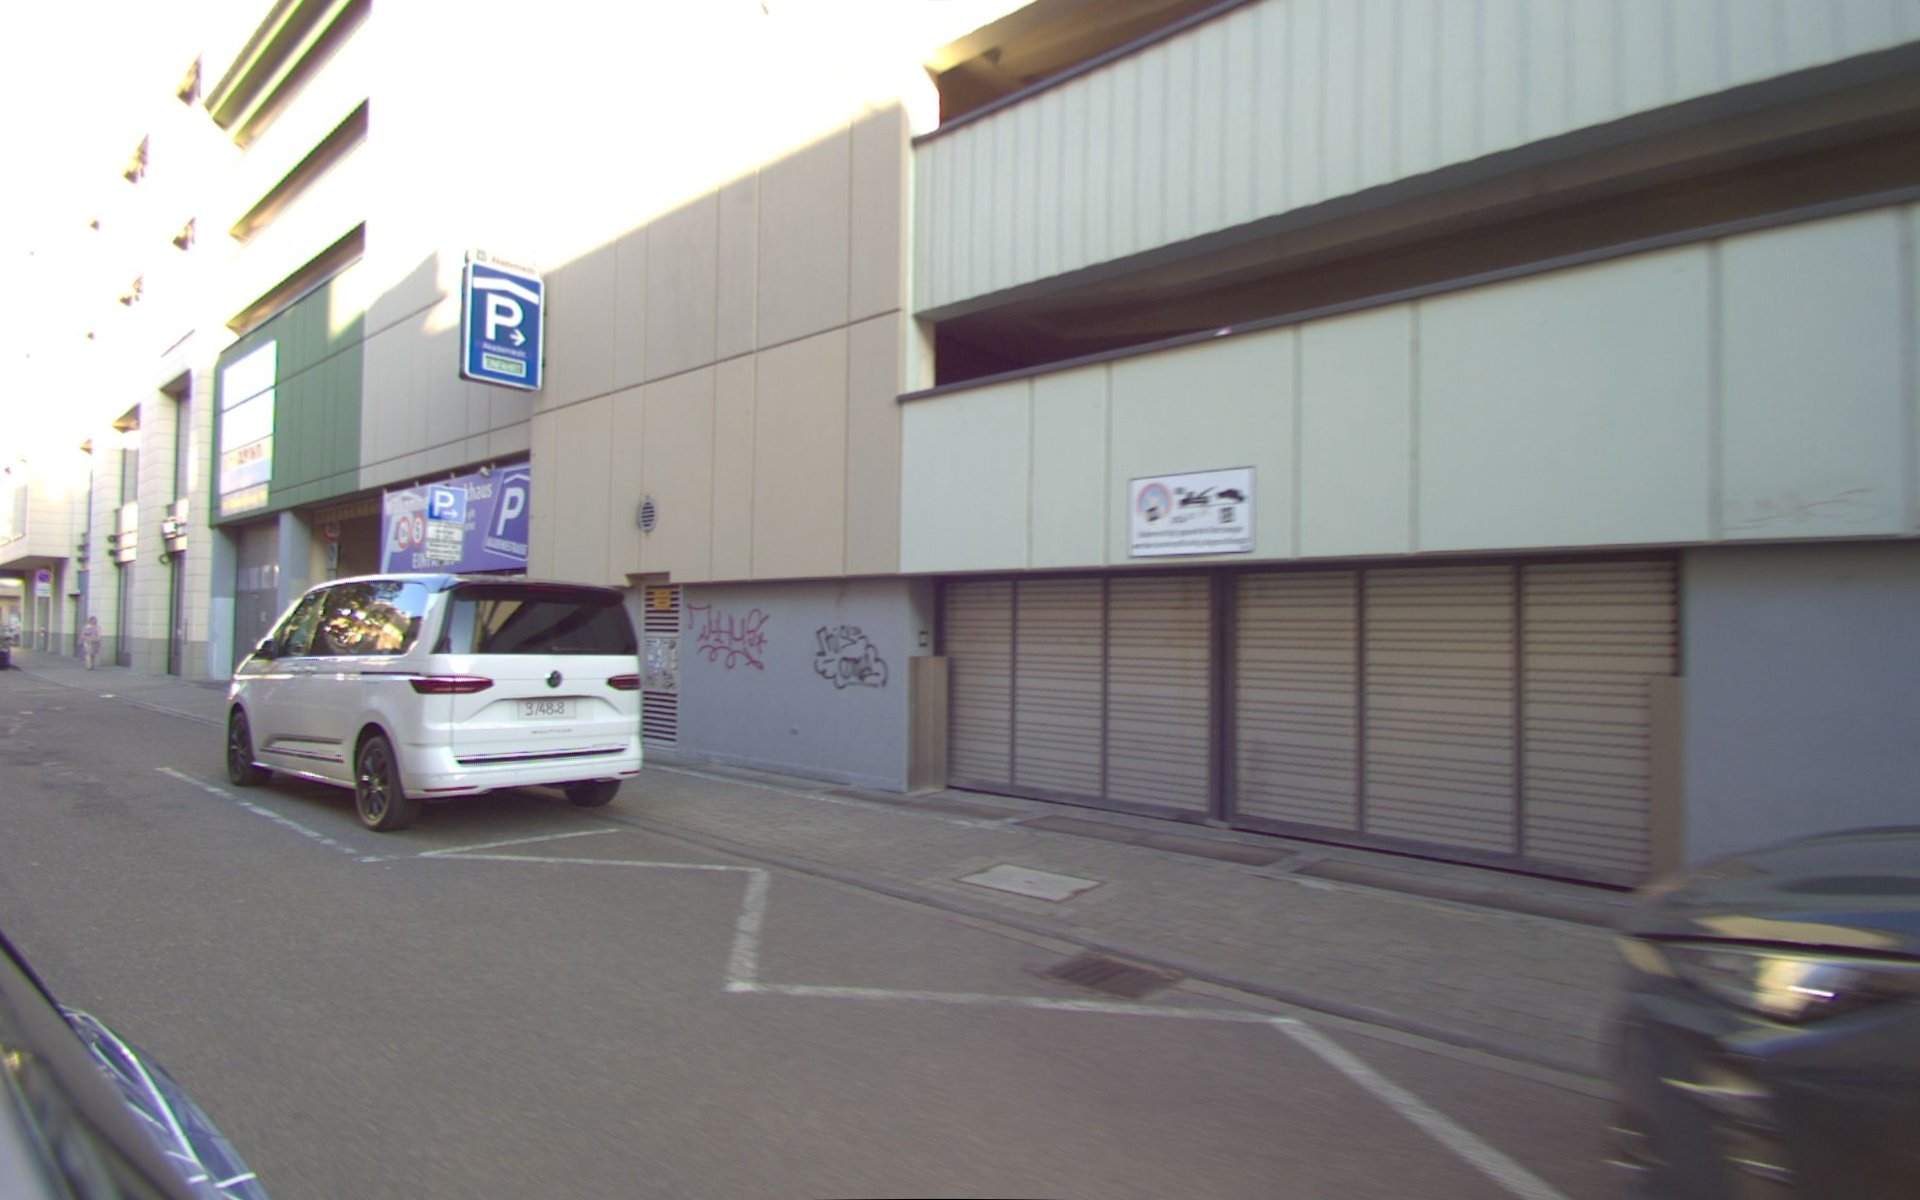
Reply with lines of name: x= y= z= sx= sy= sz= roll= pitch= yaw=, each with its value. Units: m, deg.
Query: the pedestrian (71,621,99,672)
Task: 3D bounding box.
pedestrian: x=-28.754 y=1.528 z=33.259 sx=0.565 sy=1.638 sz=0.612 roll=-2 pitch=-2 yaw=42

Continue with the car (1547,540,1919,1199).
car: x=3.545 y=0.731 z=1.140 sx=4.766 sy=1.580 sz=1.862 roll=-1 pitch=-5 yaw=39

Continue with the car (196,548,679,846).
car: x=-4.802 y=0.737 z=8.973 sx=4.845 sy=1.955 sz=1.974 roll=-1 pitch=-5 yaw=39

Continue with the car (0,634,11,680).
car: x=-33.454 y=1.870 z=34.051 sx=4.560 sy=1.428 sz=1.971 roll=-1 pitch=-4 yaw=44
